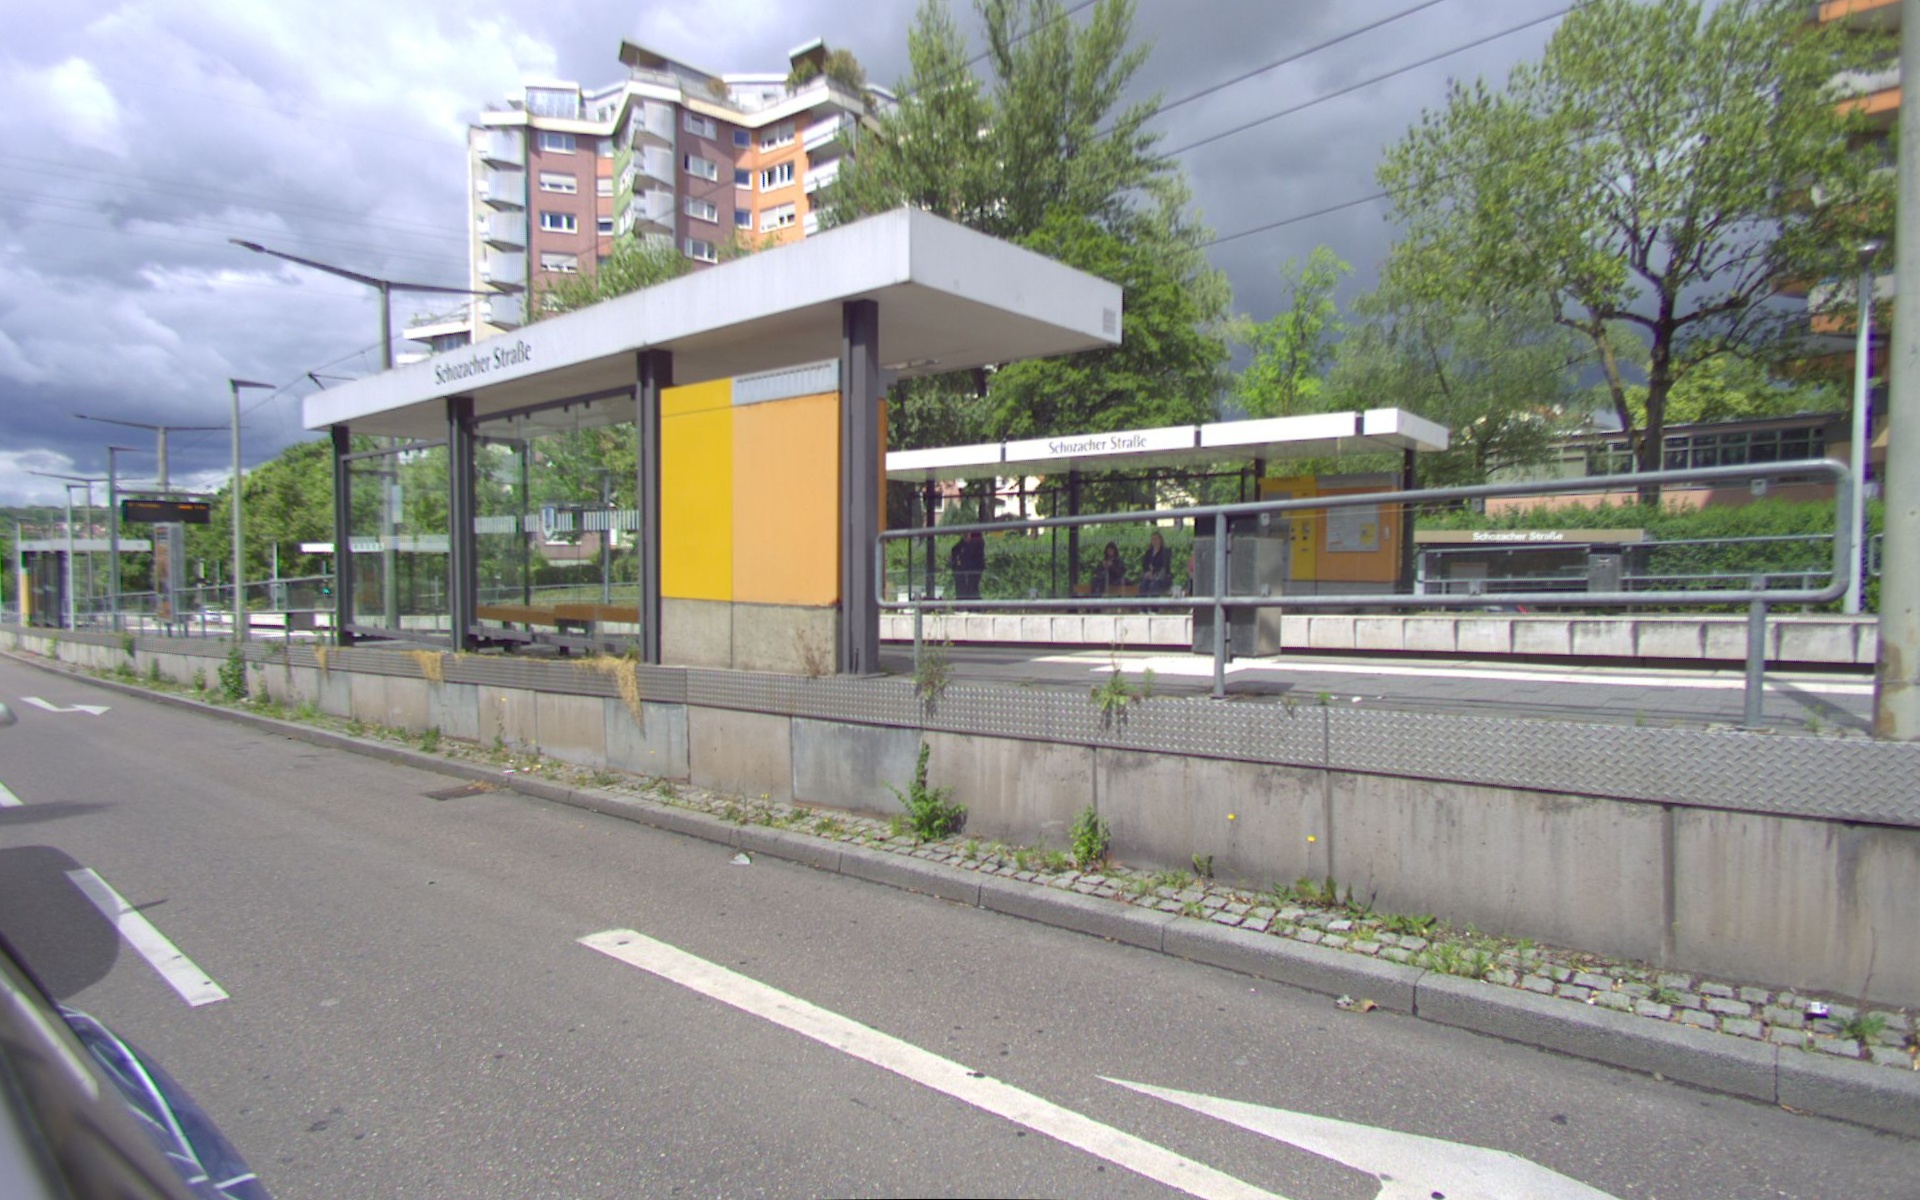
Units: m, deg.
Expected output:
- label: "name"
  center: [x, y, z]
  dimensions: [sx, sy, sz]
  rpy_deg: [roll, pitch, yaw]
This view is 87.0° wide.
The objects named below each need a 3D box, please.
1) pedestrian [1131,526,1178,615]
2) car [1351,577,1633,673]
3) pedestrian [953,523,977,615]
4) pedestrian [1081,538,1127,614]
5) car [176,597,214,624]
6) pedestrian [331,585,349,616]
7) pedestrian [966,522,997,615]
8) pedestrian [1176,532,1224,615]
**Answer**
- label: "pedestrian"
  center: [3.207, -0.481, 16.677]
  dimensions: [0.463, 1.428, 0.704]
  rpy_deg: [-1, 0, 40]
- label: "car"
  center: [8.673, 0.381, 16.682]
  dimensions: [3.863, 1.415, 1.562]
  rpy_deg: [-1, 0, 41]
- label: "pedestrian"
  center: [0.092, -0.581, 19.068]
  dimensions: [0.421, 1.726, 0.353]
  rpy_deg: [-1, 0, -1]
- label: "pedestrian"
  center: [2.492, -0.401, 17.477]
  dimensions: [0.463, 1.287, 0.704]
  rpy_deg: [-1, 0, 40]
- label: "car"
  center: [-60.460, 0.832, 79.985]
  dimensions: [4.000, 2.029, 1.714]
  rpy_deg: [-1, 0, 43]
- label: "pedestrian"
  center: [-26.166, 0.021, 42.694]
  dimensions: [0.529, 1.287, 0.562]
  rpy_deg: [-1, 0, -44]
- label: "pedestrian"
  center: [0.399, -0.584, 19.065]
  dimensions: [0.544, 1.726, 0.386]
  rpy_deg: [-1, 0, -2]
- label: "pedestrian"
  center: [3.831, -0.419, 16.124]
  dimensions: [0.463, 1.287, 0.704]
  rpy_deg: [-1, 0, 40]
